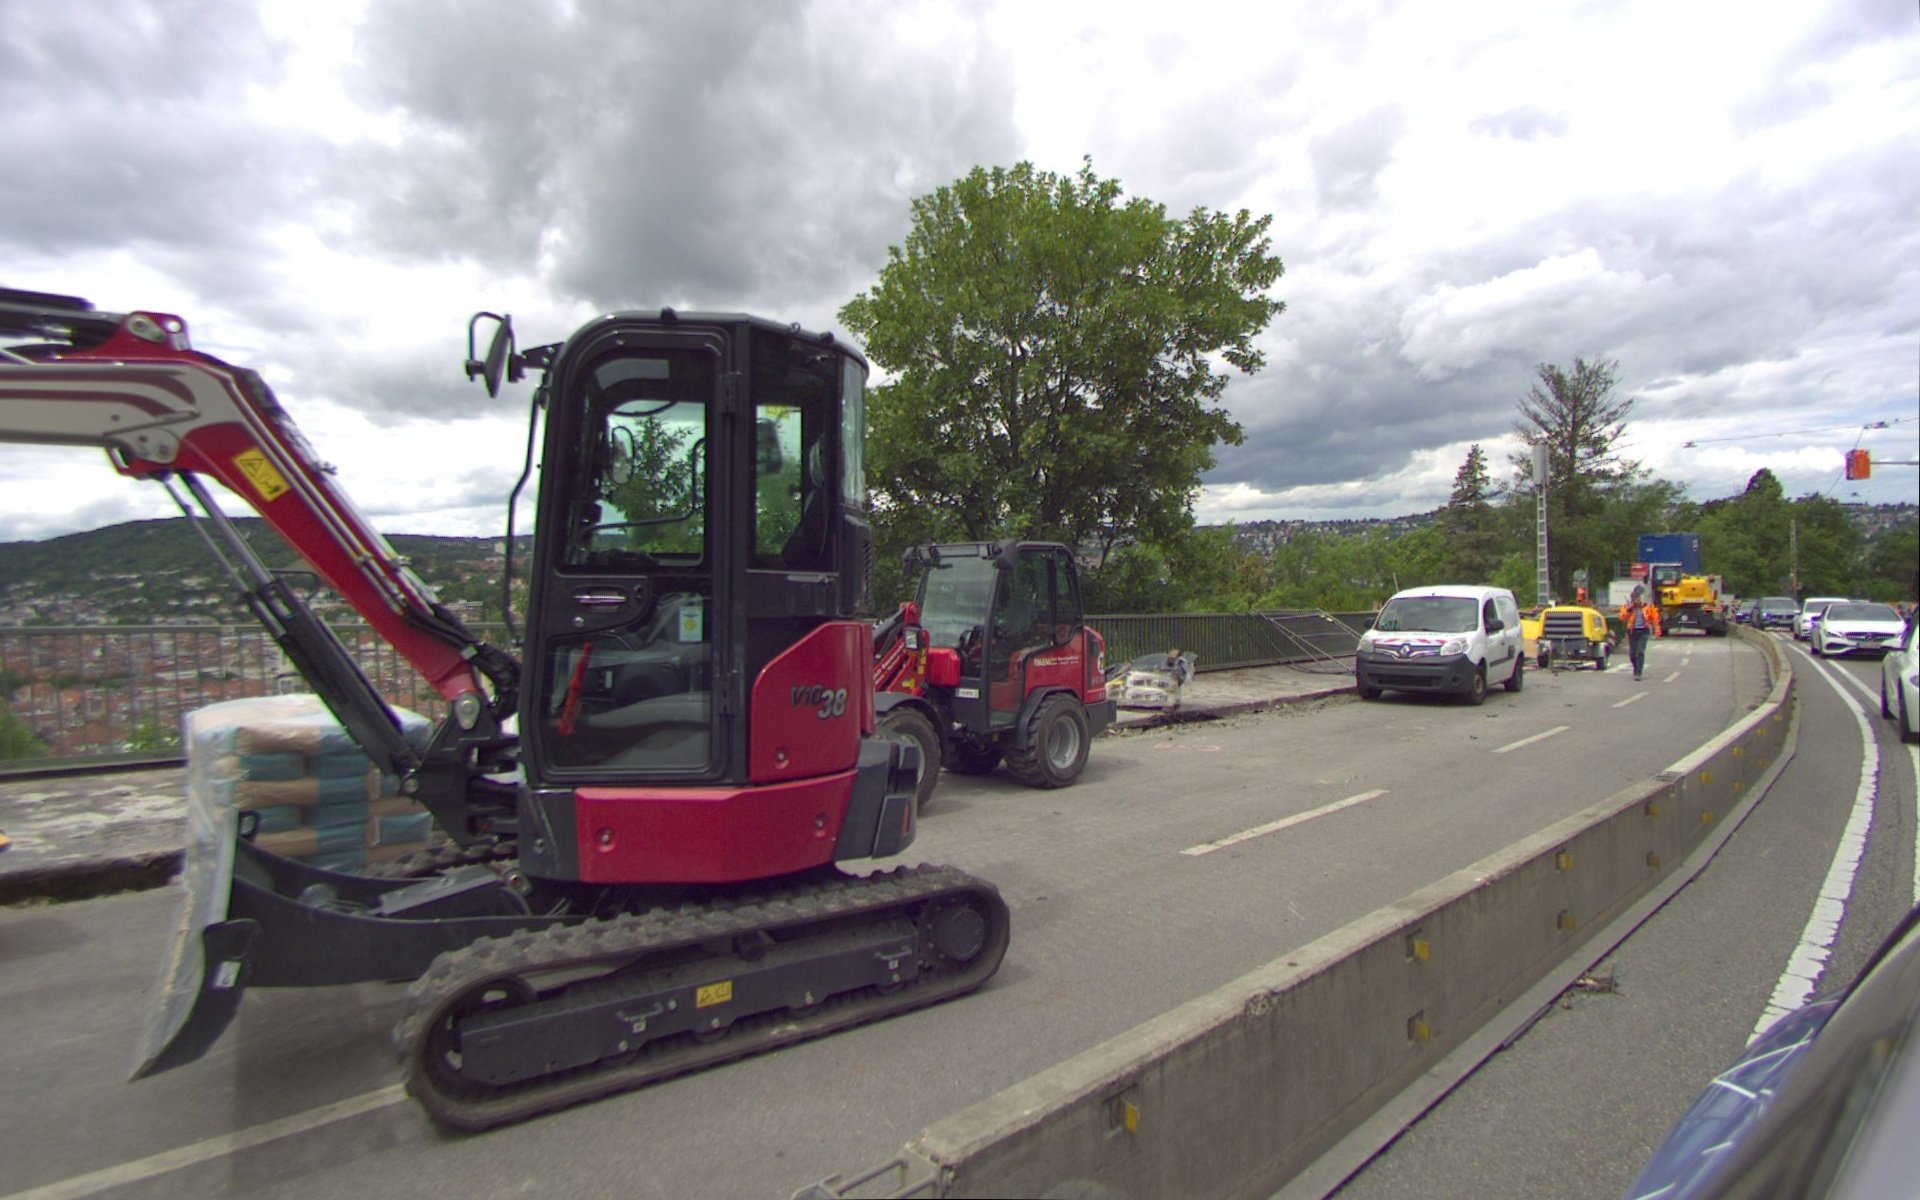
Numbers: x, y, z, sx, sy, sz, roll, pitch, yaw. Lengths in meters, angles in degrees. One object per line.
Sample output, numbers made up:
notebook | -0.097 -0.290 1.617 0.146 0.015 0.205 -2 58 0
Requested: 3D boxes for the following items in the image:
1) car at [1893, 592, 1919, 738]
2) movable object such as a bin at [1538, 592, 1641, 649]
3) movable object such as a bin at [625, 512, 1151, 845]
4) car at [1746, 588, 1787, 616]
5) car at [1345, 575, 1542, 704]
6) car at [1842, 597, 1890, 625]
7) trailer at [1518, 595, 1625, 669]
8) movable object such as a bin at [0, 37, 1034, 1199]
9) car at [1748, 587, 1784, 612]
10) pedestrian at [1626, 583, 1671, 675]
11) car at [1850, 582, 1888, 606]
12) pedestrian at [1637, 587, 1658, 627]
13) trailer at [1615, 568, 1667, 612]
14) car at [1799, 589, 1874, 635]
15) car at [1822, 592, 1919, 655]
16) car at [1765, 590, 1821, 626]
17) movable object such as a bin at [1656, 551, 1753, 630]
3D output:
car | 11.623 0.658 11.126 1.785 1.499 4.183 0 0 40
movable object such as a bin | 19.658 0.554 31.411 2.366 1.581 7.010 -1 0 35
movable object such as a bin | -0.351 0.464 8.059 1.702 1.967 4.097 -1 -1 45
car | 48.197 0.079 60.530 1.791 1.529 3.946 3 3 37
car | 7.912 0.552 16.361 1.831 1.802 4.205 0 0 41
car | 52.355 0.644 58.549 1.722 1.439 3.767 -2 -4 37
trailer | 13.409 0.642 22.132 1.288 1.494 3.577 -1 0 43
movable object such as a bin | -2.317 0.109 3.441 4.851 2.697 2.218 0 -1 -36
car | 55.793 -0.061 70.005 1.792 1.529 3.942 3 3 40
pedestrian | 13.259 0.542 19.495 0.643 1.723 0.839 -2 -2 37
car | 62.975 -0.435 70.096 1.842 1.620 4.196 0 0 44
pedestrian | 31.436 0.311 46.299 0.684 1.818 0.535 0 -1 25
trailer | 42.468 -0.620 63.076 2.105 2.581 5.044 3 2 40
car | 32.152 0.421 37.215 1.784 1.570 4.187 1 1 37
car | 23.364 0.548 26.015 1.785 1.499 4.183 0 0 40
car | 39.953 0.334 48.600 1.790 1.528 3.948 3 3 36
movable object such as a bin | 32.160 -0.377 43.976 2.799 3.110 7.731 -1 0 33
